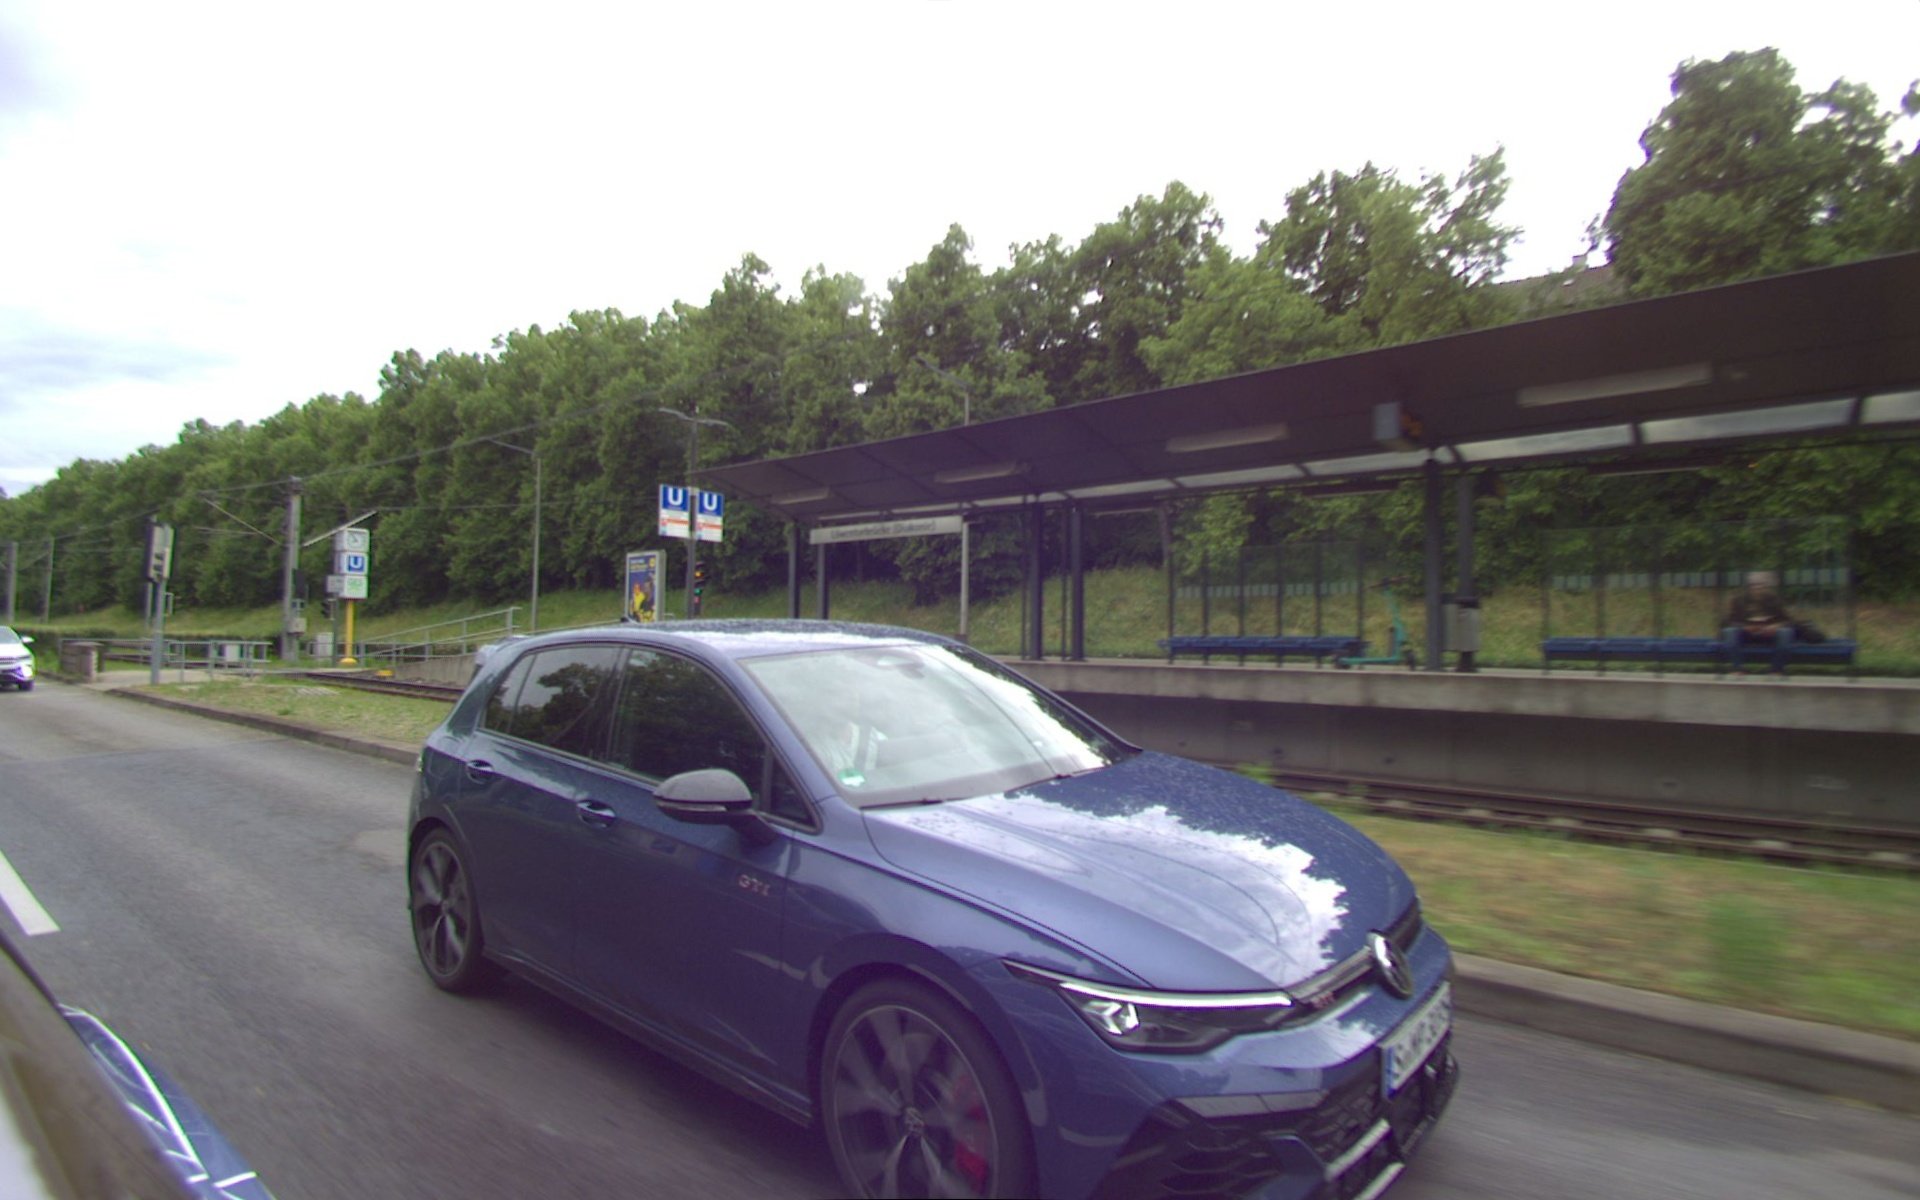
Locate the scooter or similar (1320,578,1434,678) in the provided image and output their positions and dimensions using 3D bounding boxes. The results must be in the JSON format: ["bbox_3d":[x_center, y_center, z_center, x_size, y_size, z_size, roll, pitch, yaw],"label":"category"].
[{"bbox_3d":[5.229,0.343,12.714,1.280,1.227,0.380,0,0,-5],"label":"scooter or similar"}]

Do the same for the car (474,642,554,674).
[{"bbox_3d":[-21.404,2.741,48.540,3.992,1.414,1.779,-1,-2,36],"label":"car"}]

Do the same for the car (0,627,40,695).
[{"bbox_3d":[-22.676,1.345,23.184,4.699,1.476,1.934,-1,-3,43],"label":"car"}]

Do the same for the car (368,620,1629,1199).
[{"bbox_3d":[-0.345,0.787,3.610,4.345,1.389,1.789,-2,-2,41],"label":"car"}]

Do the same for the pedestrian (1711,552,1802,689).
[{"bbox_3d":[8.280,0.219,10.545,0.691,1.366,0.745,-1,-3,38],"label":"pedestrian"}]
